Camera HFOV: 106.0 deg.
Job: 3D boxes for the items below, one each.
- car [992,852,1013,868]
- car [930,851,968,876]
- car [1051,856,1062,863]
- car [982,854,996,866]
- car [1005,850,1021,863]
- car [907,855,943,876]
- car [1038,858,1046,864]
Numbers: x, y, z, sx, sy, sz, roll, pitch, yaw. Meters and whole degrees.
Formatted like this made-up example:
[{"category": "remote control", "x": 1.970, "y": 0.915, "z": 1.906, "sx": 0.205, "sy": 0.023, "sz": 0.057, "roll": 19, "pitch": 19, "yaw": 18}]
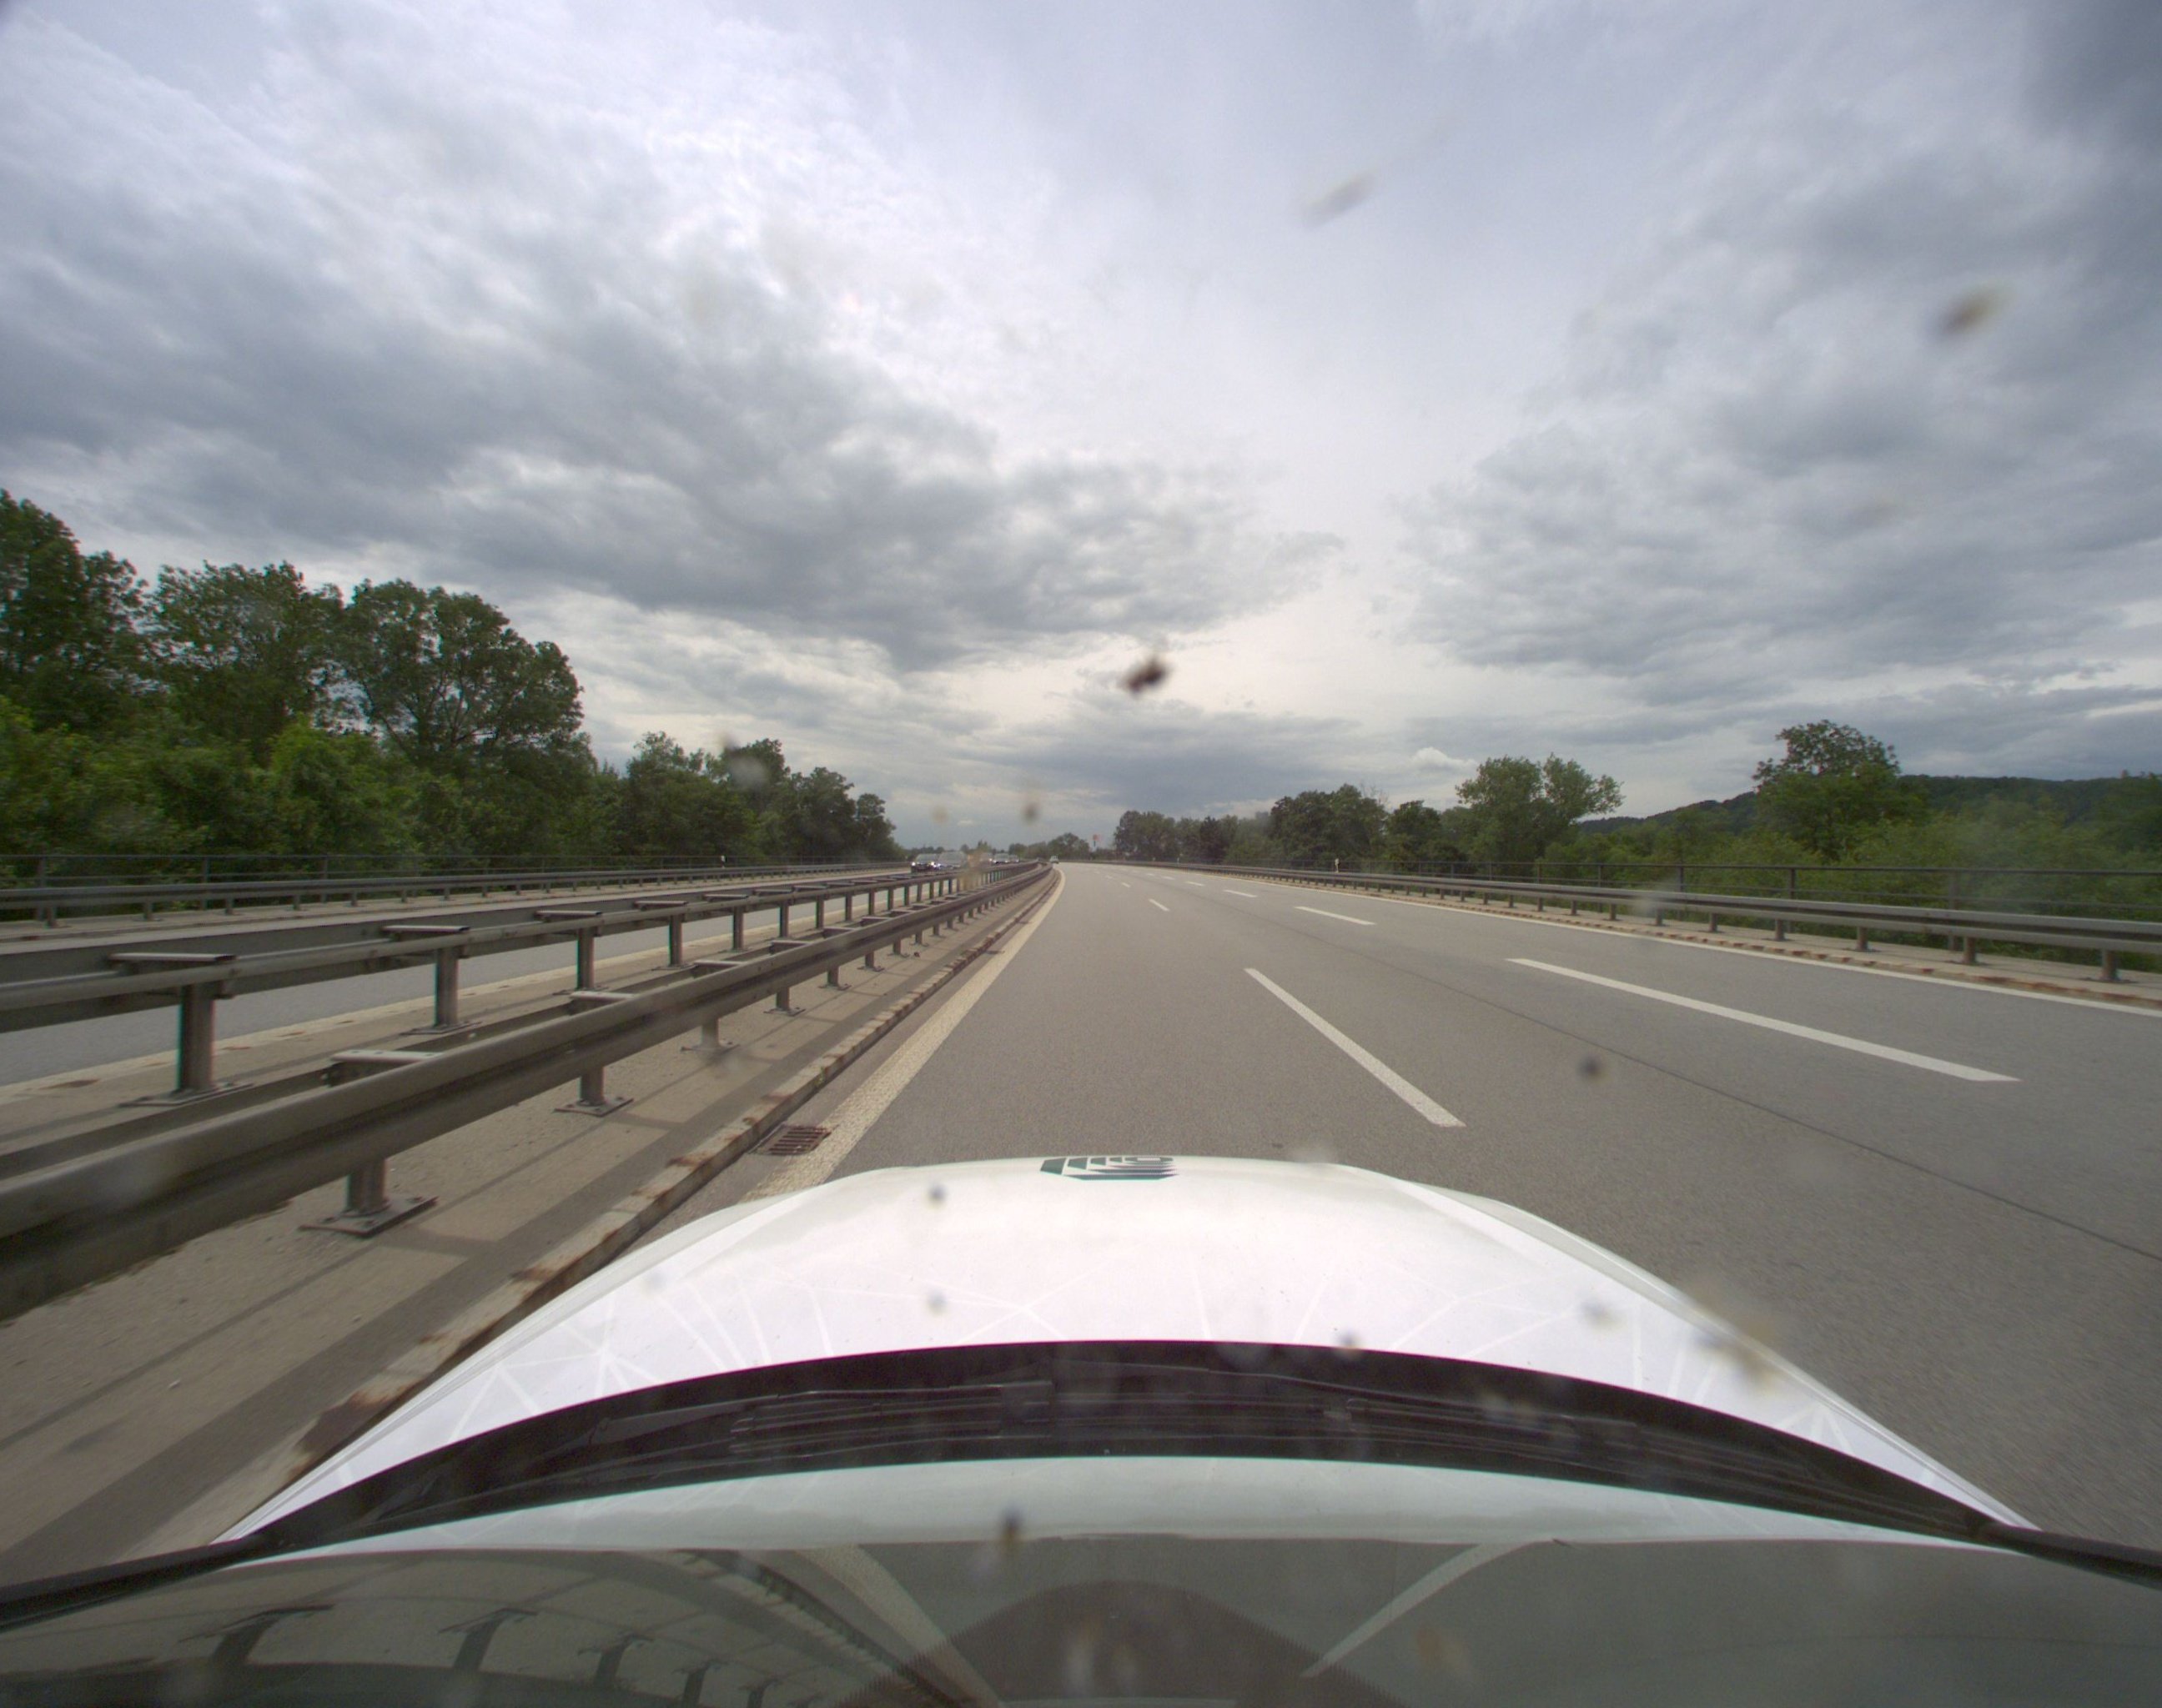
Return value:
[{"category": "car", "x": -7.503, "y": 0.569, "z": 78.176, "sx": 1.687, "sy": 1.437, "sz": 4.108, "roll": 0, "pitch": 0, "yaw": -1}, {"category": "car", "x": -7.597, "y": 0.519, "z": 47.185, "sx": 1.647, "sy": 1.367, "sz": 4.146, "roll": 0, "pitch": 0, "yaw": -1}, {"category": "car", "x": -5.827, "y": 1.324, "z": 190.993, "sx": 1.902, "sy": 1.640, "sz": 4.380, "roll": 1, "pitch": -1, "yaw": -10}, {"category": "car", "x": -12.460, "y": 0.795, "z": 110.529, "sx": 1.648, "sy": 1.541, "sz": 3.994, "roll": 3, "pitch": 0, "yaw": -4}, {"category": "car", "x": -8.347, "y": 0.266, "z": 100.083, "sx": 1.639, "sy": 1.549, "sz": 4.000, "roll": 2, "pitch": 0, "yaw": 0}, {"category": "car", "x": -11.265, "y": 0.808, "z": 58.968, "sx": 1.732, "sy": 1.410, "sz": 4.939, "roll": 0, "pitch": 0, "yaw": -1}, {"category": "car", "x": -11.222, "y": 1.943, "z": 233.499, "sx": 1.892, "sy": 1.640, "sz": 4.606, "roll": 0, "pitch": 0, "yaw": -10}]
